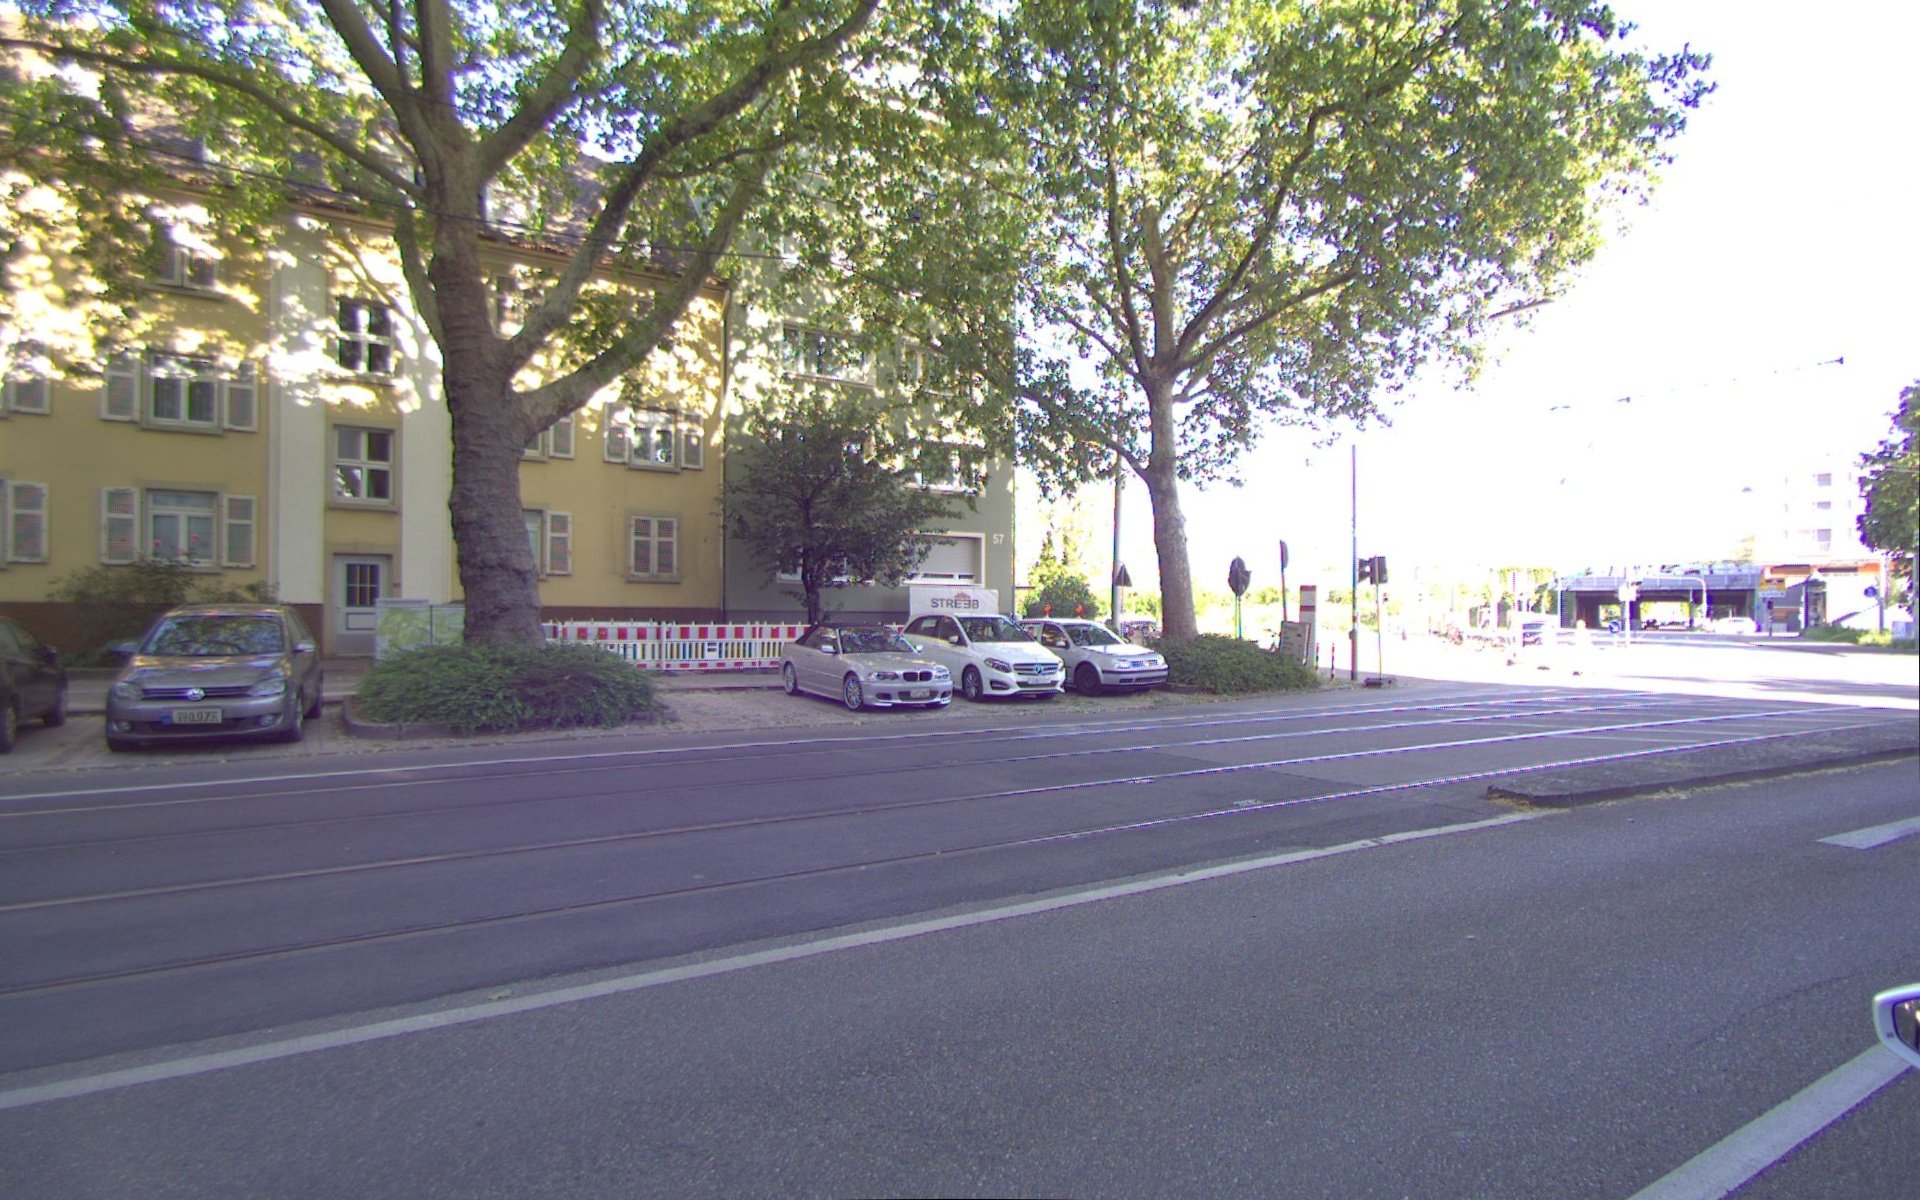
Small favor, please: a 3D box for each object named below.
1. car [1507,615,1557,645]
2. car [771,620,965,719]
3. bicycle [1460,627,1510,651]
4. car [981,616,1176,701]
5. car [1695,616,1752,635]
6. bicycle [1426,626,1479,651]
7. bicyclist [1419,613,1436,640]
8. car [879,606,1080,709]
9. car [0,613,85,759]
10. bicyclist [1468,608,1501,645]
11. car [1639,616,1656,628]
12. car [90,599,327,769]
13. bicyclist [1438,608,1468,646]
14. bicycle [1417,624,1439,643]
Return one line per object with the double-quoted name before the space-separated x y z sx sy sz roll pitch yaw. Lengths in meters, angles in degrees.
"car" 32.433 1.687 56.944 1.803 1.539 3.876 2 1 40
"car" -1.726 1.098 17.438 1.708 1.386 4.219 1 0 -31
"bicycle" 22.594 1.674 43.287 0.662 0.997 2.057 1 -1 -18
"car" 2.303 1.113 20.827 1.656 1.448 4.490 1 0 -30
"car" 75.504 2.545 99.390 4.107 1.829 1.736 0 -1 22
"bicycle" 22.997 1.785 46.954 0.789 1.098 2.289 1 -1 -21
"bicyclist" 27.131 1.523 58.290 0.628 1.584 0.828 0 -1 43
"car" 0.224 0.997 19.482 1.777 1.640 4.587 1 1 -30
"car" -11.390 0.884 11.300 1.723 1.448 3.545 1 0 -31
"bicyclist" 22.588 1.133 43.264 0.786 1.591 1.009 1 -1 -18
"car" 108.624 3.520 158.697 2.183 1.847 4.134 0 -1 34
"car" -9.033 0.863 12.429 1.793 1.627 4.169 1 1 -29
"bicyclist" 23.022 1.267 46.918 0.862 1.730 0.925 1 -1 -22
"bicycle" 27.181 1.946 58.294 0.575 1.075 2.030 0 -1 43
